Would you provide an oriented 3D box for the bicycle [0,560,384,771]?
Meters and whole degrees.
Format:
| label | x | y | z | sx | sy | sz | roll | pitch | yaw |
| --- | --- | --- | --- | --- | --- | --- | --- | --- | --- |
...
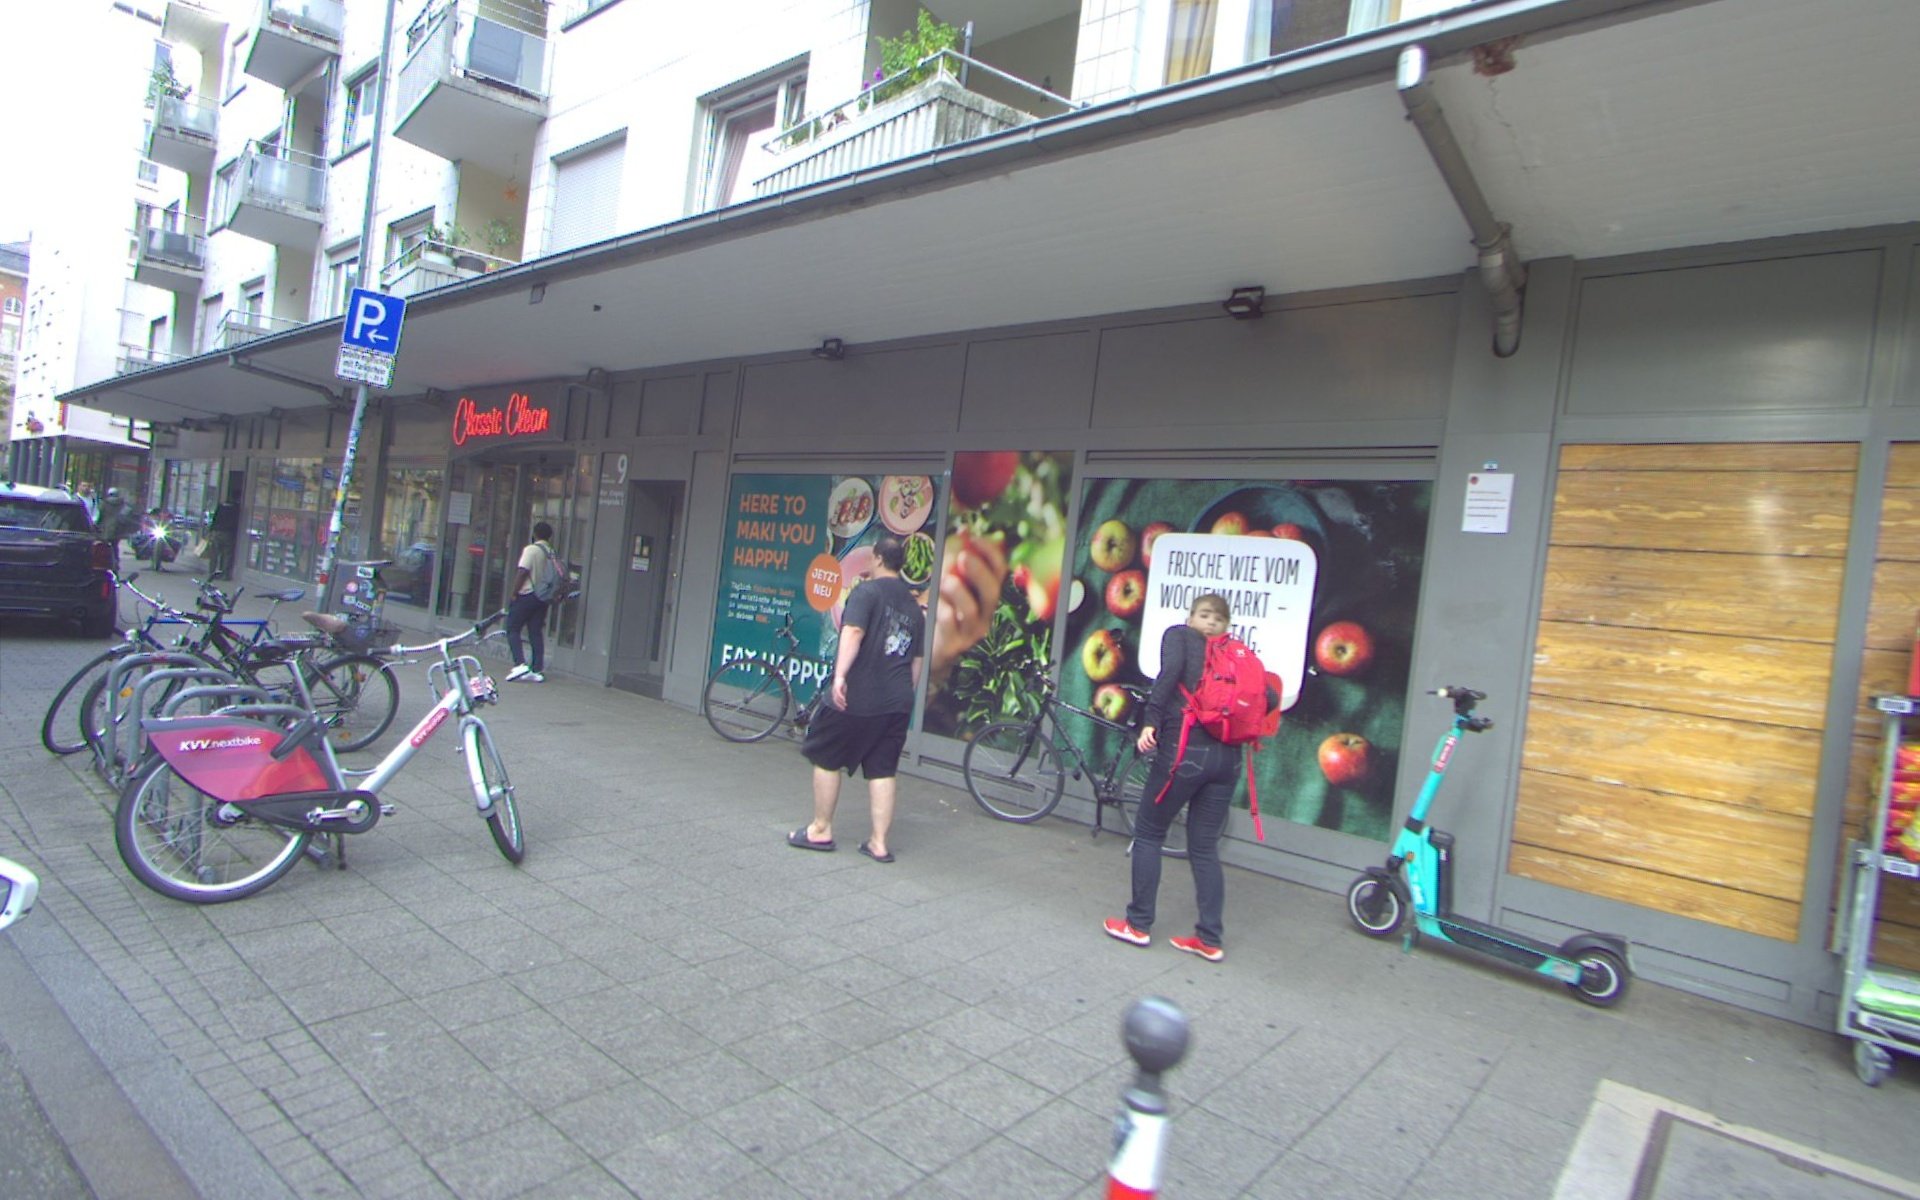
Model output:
| label | x | y | z | sx | sy | sz | roll | pitch | yaw |
| --- | --- | --- | --- | --- | --- | --- | --- | --- | --- |
| bicycle | -4.700 | 0.381 | 6.290 | 0.577 | 1.085 | 1.789 | 8 | 2 | 31 |

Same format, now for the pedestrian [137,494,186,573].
| label | x | y | z | sx | sy | sz | roll | pitch | yaw |
| --- | --- | --- | --- | --- | --- | --- | --- | --- | --- |
| pedestrian | -17.110 | -1.423 | 21.546 | 0.770 | 1.609 | 0.642 | 7 | 3 | 42 |

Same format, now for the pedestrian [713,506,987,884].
| label | x | y | z | sx | sy | sz | roll | pitch | yaw |
| --- | --- | --- | --- | --- | --- | --- | --- | --- | --- |
| pedestrian | -0.600 | 0.448 | 5.439 | 1.033 | 1.770 | 0.848 | 8 | 3 | 39 |

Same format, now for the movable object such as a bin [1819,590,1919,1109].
| label | x | y | z | sx | sy | sz | roll | pitch | yaw |
| --- | --- | --- | --- | --- | --- | --- | --- | --- | --- |
| movable object such as a bin | 4.330 | 0.981 | 3.104 | 2.389 | 1.766 | 0.778 | 7 | 1 | 42 |

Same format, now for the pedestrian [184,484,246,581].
| label | x | y | z | sx | sy | sz | roll | pitch | yaw |
| --- | --- | --- | --- | --- | --- | --- | --- | --- | --- |
| pedestrian | -15.345 | -1.367 | 20.738 | 0.700 | 1.883 | 0.641 | 7 | 1 | -20 |

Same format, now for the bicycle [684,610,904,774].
| label | x | y | z | sx | sy | sz | roll | pitch | yaw |
| --- | --- | --- | --- | --- | --- | --- | --- | --- | --- |
| bicycle | -1.379 | 0.694 | 8.152 | 1.757 | 1.028 | 0.740 | 7 | 3 | 40 |

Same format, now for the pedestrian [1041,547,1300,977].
| label | x | y | z | sx | sy | sz | roll | pitch | yaw |
| --- | --- | --- | --- | --- | --- | --- | --- | --- | --- |
| pedestrian | 0.928 | 0.645 | 4.428 | 0.702 | 1.655 | 0.721 | 8 | 4 | 39 |

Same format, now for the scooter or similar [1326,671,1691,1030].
| label | x | y | z | sx | sy | sz | roll | pitch | yaw |
| --- | --- | --- | --- | --- | --- | --- | --- | --- | --- |
| scooter or similar | 2.444 | 1.022 | 4.538 | 1.237 | 1.229 | 0.631 | 8 | 3 | 38 |

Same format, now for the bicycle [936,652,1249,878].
| label | x | y | z | sx | sy | sz | roll | pitch | yaw |
| --- | --- | --- | --- | --- | --- | --- | --- | --- | --- |
| bicycle | 0.813 | 0.944 | 6.168 | 1.702 | 1.056 | 0.678 | 6 | 0 | 21 |

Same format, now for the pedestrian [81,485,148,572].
| label | x | y | z | sx | sy | sz | roll | pitch | yaw |
| --- | --- | --- | --- | --- | --- | --- | --- | --- | --- |
| pedestrian | -16.836 | -1.427 | 20.033 | 0.770 | 1.608 | 0.822 | 7 | 1 | 42 |

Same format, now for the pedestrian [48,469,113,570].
| label | x | y | z | sx | sy | sz | roll | pitch | yaw |
| --- | --- | --- | --- | --- | --- | --- | --- | --- | --- |
| pedestrian | -16.278 | -1.496 | 18.606 | 1.109 | 1.749 | 0.611 | 8 | 4 | 35 |

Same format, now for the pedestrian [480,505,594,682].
| label | x | y | z | sx | sy | sz | roll | pitch | yaw |
| --- | --- | --- | --- | --- | --- | --- | --- | --- | --- |
| pedestrian | -4.493 | -0.069 | 10.689 | 0.805 | 1.770 | 0.712 | 8 | 4 | 39 |

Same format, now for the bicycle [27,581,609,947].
| label | x | y | z | sx | sy | sz | roll | pitch | yaw |
| --- | --- | --- | --- | --- | --- | --- | --- | --- | --- |
| bicycle | -2.638 | 0.579 | 4.324 | 0.894 | 1.140 | 1.879 | 8 | 3 | 38 |

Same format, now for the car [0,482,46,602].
| label | x | y | z | sx | sy | sz | roll | pitch | yaw |
| --- | --- | --- | --- | --- | --- | --- | --- | --- | --- |
| car | -14.767 | -0.998 | 14.552 | 3.845 | 1.597 | 1.686 | 7 | 1 | 39 |

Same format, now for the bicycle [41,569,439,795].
| label | x | y | z | sx | sy | sz | roll | pitch | yaw |
| --- | --- | --- | --- | --- | --- | --- | --- | --- | --- |
| bicycle | -4.136 | 0.441 | 5.943 | 0.559 | 1.085 | 1.789 | 8 | 2 | 31 |

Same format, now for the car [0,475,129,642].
| label | x | y | z | sx | sy | sz | roll | pitch | yaw |
| --- | --- | --- | --- | --- | --- | --- | --- | --- | --- |
| car | -10.827 | -0.592 | 11.220 | 3.869 | 1.627 | 1.788 | 7 | 3 | 42 |

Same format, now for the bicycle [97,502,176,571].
| label | x | y | z | sx | sy | sz | roll | pitch | yaw |
| --- | --- | --- | --- | --- | --- | --- | --- | --- | --- |
| bicycle | -18.305 | -1.421 | 22.328 | 2.464 | 1.308 | 0.916 | 7 | 2 | 41 |
